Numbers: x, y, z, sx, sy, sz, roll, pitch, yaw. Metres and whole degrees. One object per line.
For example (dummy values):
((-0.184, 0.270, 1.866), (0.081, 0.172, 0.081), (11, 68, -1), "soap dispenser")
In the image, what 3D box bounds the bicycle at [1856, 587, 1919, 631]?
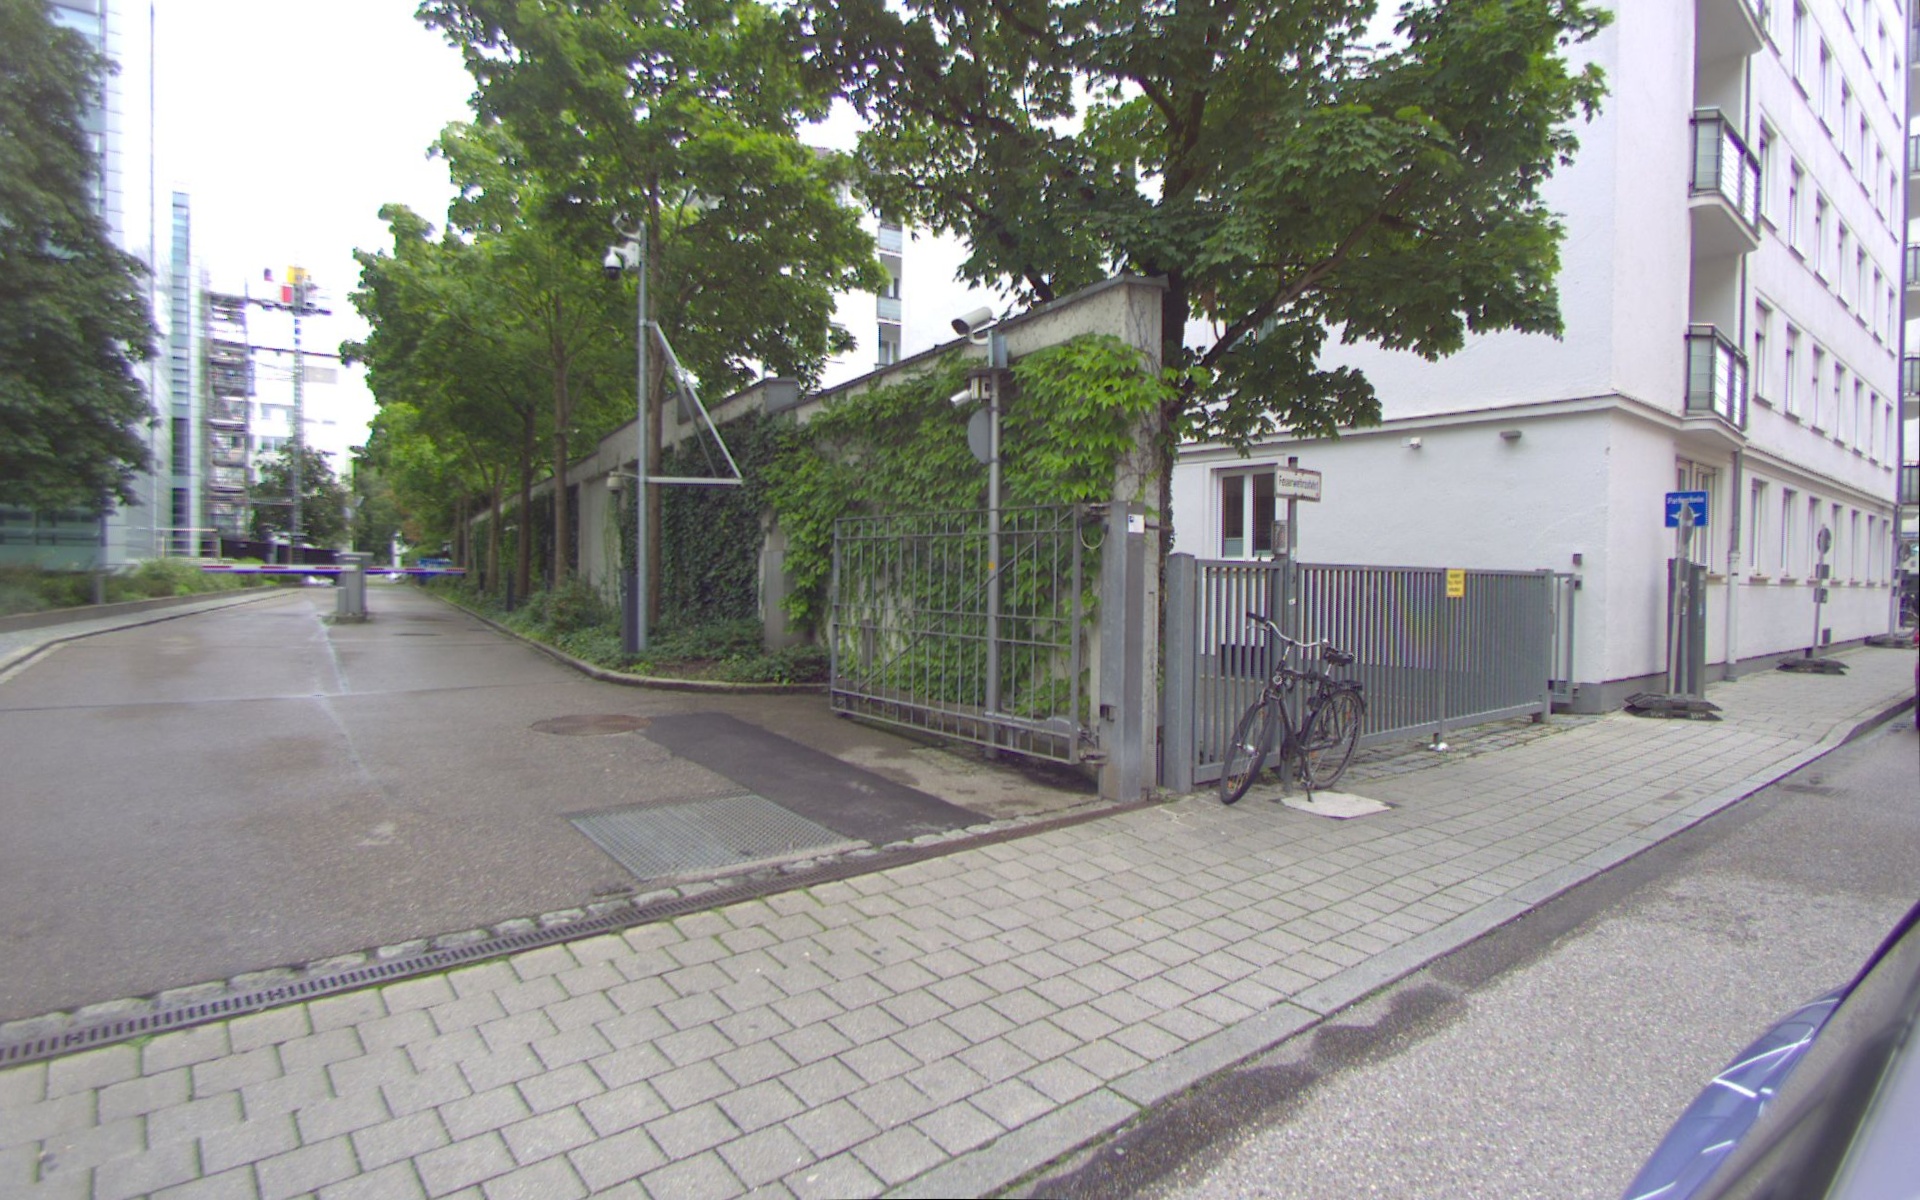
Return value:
((24.438, 0.225, 26.410), (1.490, 1.056, 0.394), (4, 4, 32), "bicycle")

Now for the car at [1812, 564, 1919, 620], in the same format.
((33.534, -0.290, 35.894), (1.895, 1.914, 4.687), (1, 2, -32), "car")

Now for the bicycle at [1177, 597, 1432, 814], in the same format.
((2.293, 0.637, 6.624), (1.800, 1.213, 0.709), (3, -1, -40), "bicycle")

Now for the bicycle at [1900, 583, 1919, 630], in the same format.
((26.021, 0.182, 27.345), (0.395, 1.219, 1.494), (3, 4, 25), "bicycle")
